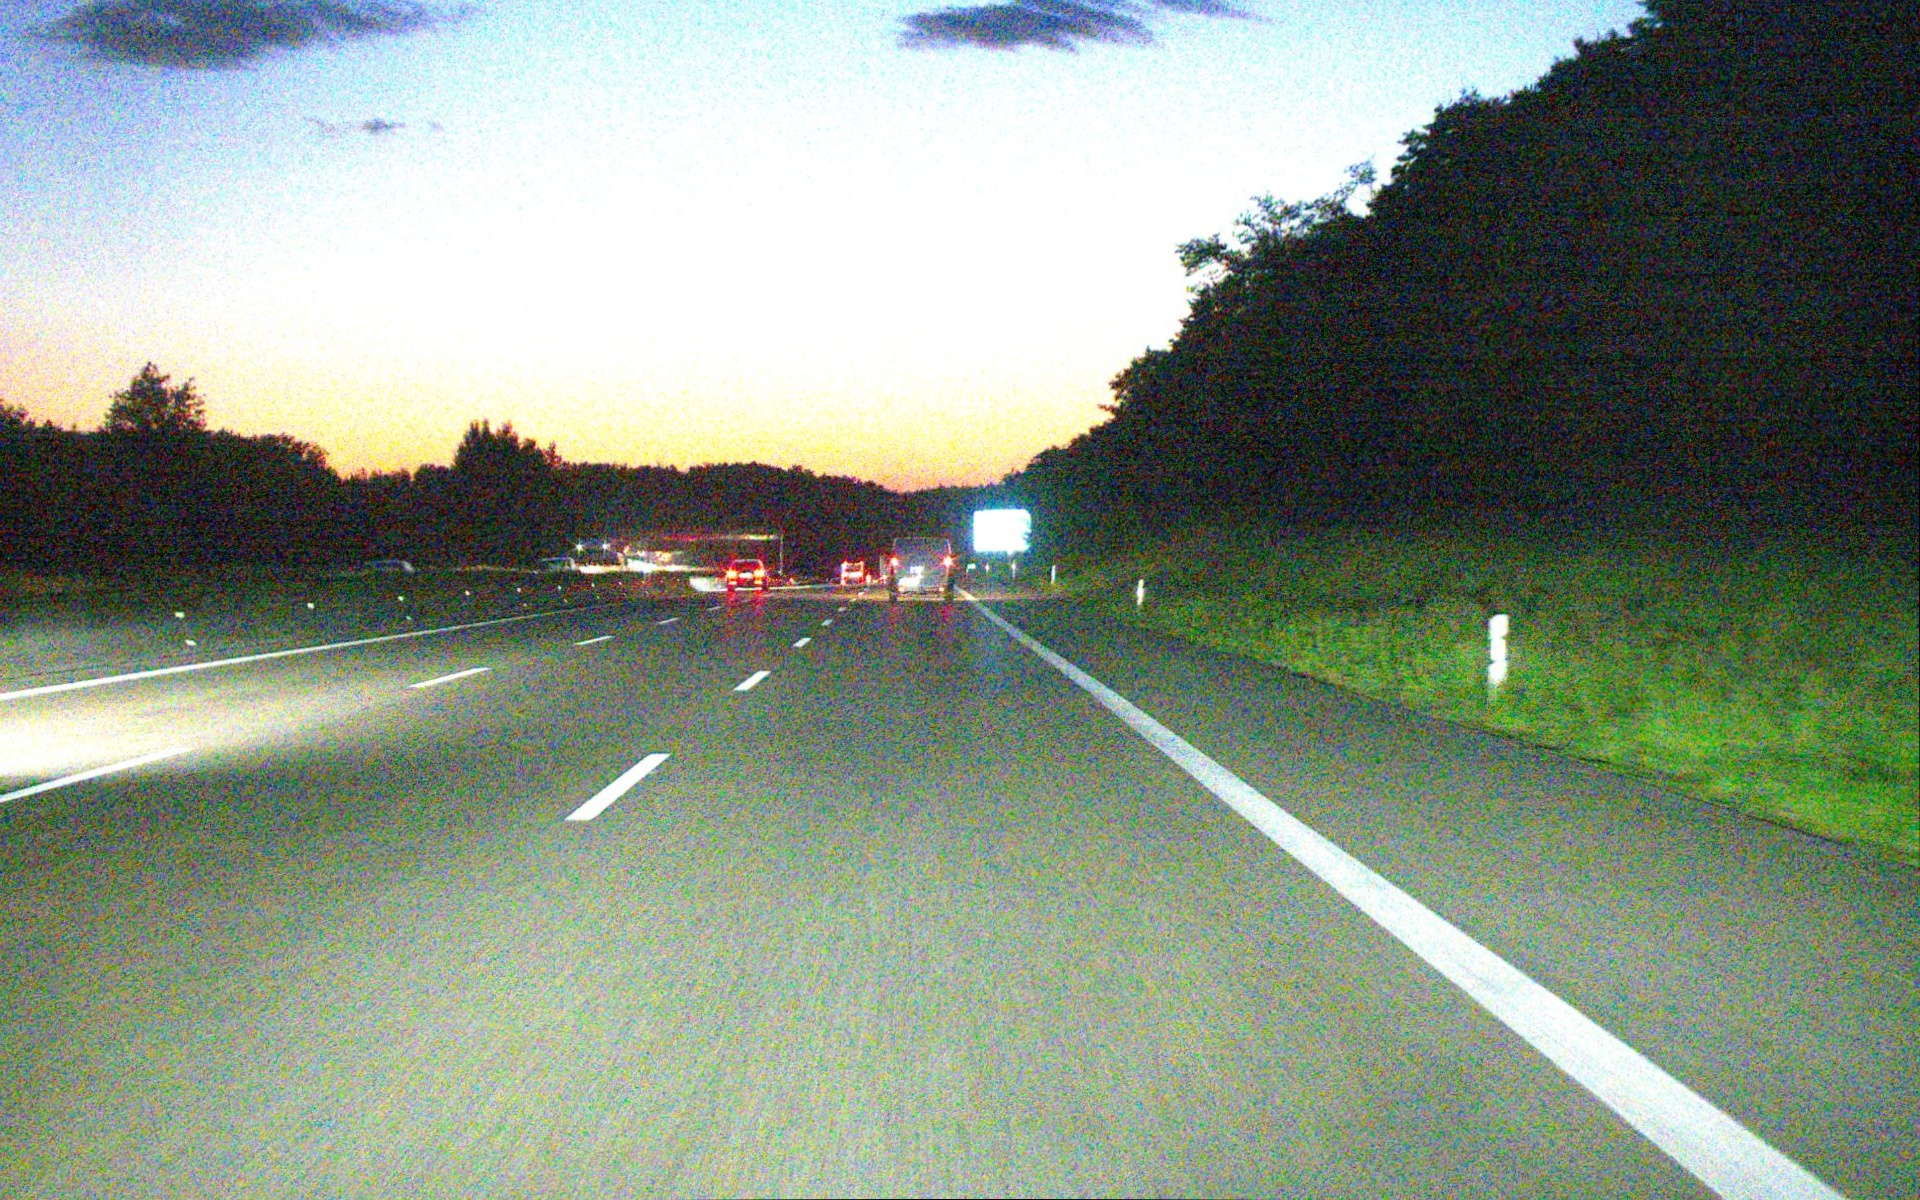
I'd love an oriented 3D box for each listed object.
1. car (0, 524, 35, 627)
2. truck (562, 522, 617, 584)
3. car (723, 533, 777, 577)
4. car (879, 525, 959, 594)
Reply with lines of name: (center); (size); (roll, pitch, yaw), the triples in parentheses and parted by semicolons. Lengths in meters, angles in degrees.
car: (-16.636, -0.404, 55.435); (2.196, 1.676, 4.763); (1, 1, -1)
truck: (-27.454, -3.488, 254.927); (3.325, 4.418, 6.708); (-2, 1, -1)
car: (-9.500, -2.064, 155.569); (2.196, 1.949, 4.634); (0, 1, -1)
car: (-1.286, -1.263, 105.953); (2.196, 1.948, 4.764); (-3, 1, -3)
